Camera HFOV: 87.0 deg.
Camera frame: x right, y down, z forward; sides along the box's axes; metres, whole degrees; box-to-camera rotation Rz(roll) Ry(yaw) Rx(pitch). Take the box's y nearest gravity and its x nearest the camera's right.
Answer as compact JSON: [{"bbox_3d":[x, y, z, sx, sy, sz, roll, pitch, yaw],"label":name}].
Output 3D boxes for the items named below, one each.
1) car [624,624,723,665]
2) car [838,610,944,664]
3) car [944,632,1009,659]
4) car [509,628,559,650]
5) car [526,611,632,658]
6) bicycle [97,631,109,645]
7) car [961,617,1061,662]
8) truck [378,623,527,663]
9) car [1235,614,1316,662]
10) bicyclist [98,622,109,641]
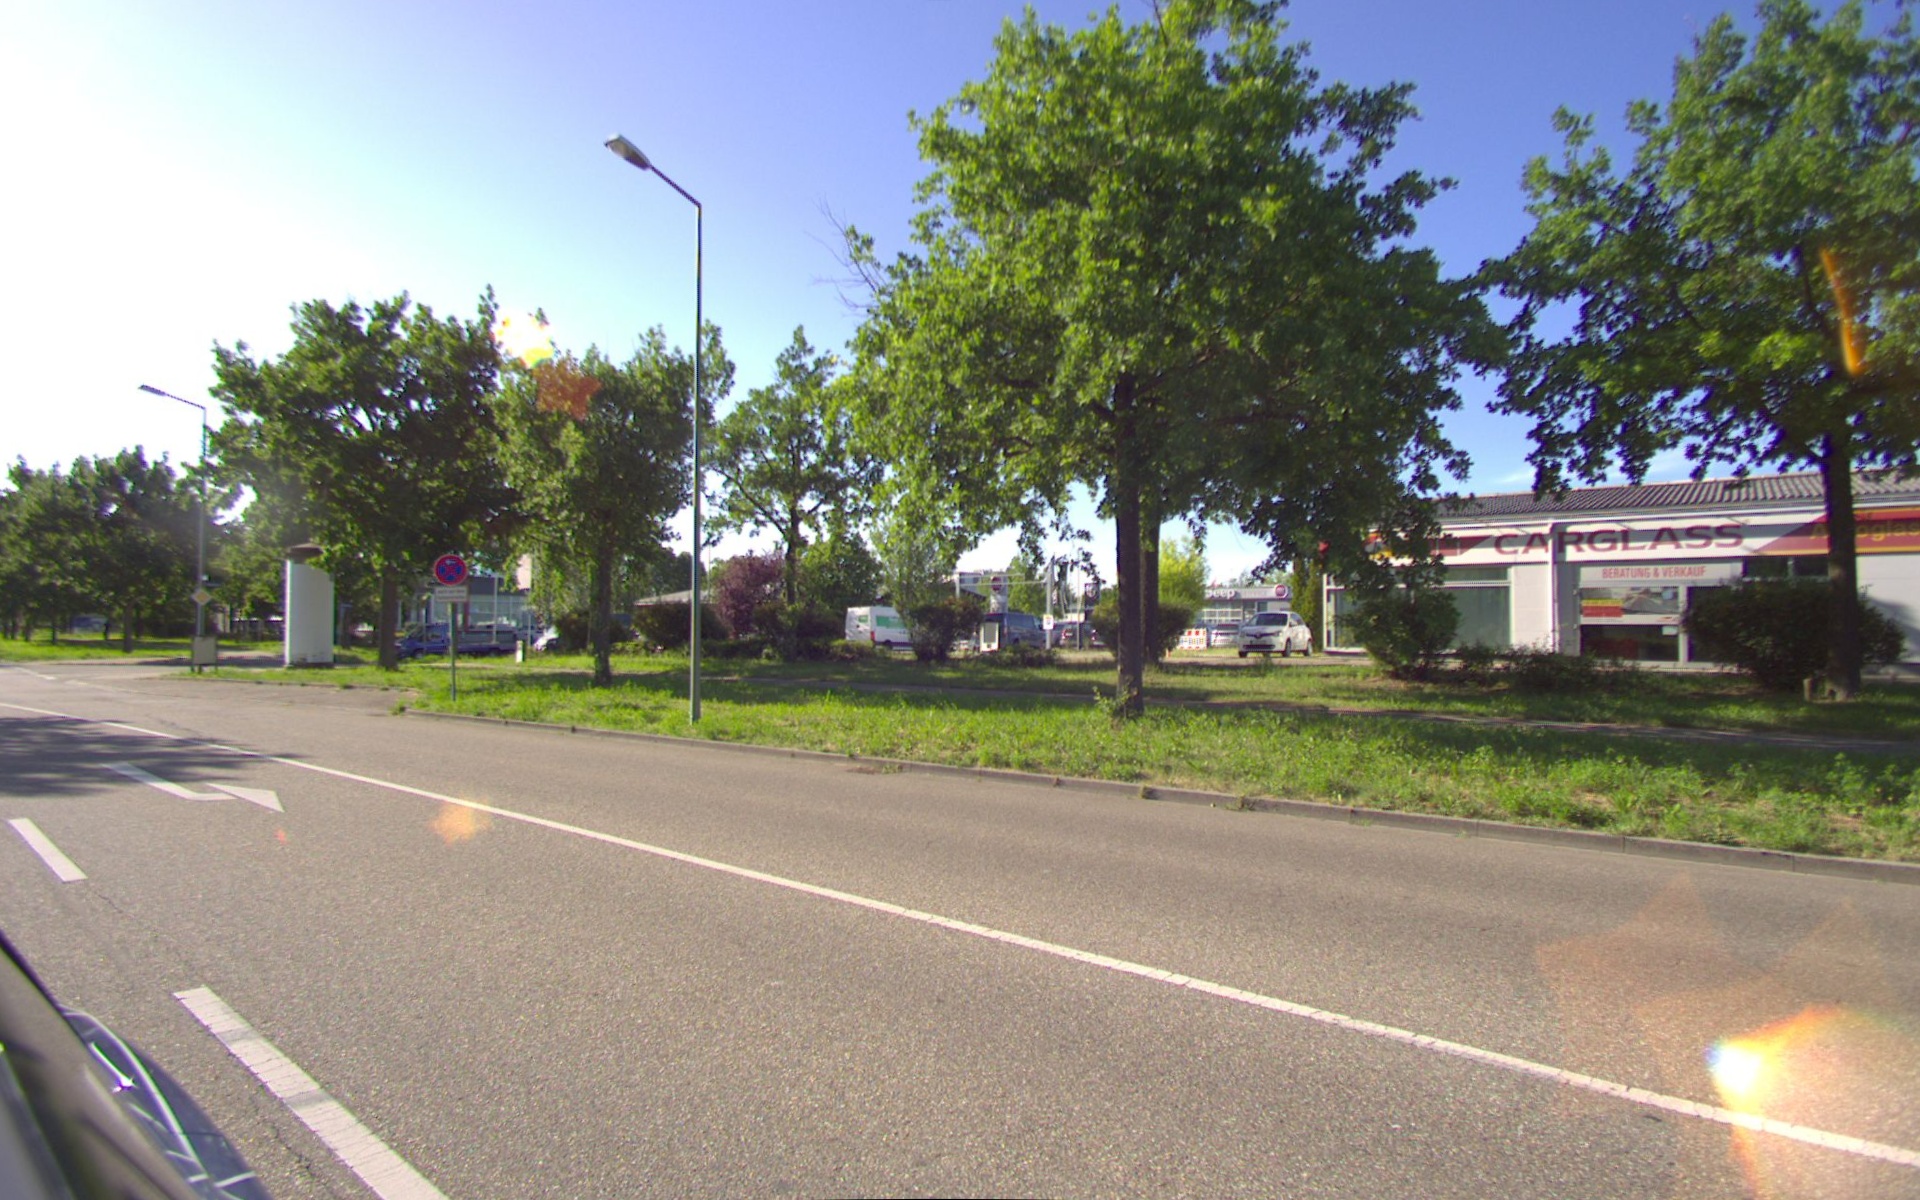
[{"bbox_3d":[-19.001,2.892,67.511,2.297,2.535,6.279,-1,-1,37],"label":"car"},{"bbox_3d":[-3.628,1.908,54.470,2.297,2.723,6.102,-1,-1,37],"label":"car"},{"bbox_3d":[0.873,2.302,52.014,1.572,1.312,3.488,-2,-2,38],"label":"car"},{"bbox_3d":[-33.536,3.036,79.637,4.296,1.505,1.973,1,1,41],"label":"car"},{"bbox_3d":[-23.229,2.047,61.921,2.297,2.723,5.807,-1,-1,37],"label":"car"},{"bbox_3d":[-75.419,3.340,89.039,2.335,1.170,0.545,-1,-1,44],"label":"bicycle"},{"bbox_3d":[2.580,1.931,49.575,2.297,2.086,5.358,-1,-2,37],"label":"car"},{"bbox_3d":[-27.708,2.355,55.581,2.138,2.065,7.042,-1,-2,38],"label":"truck"},{"bbox_3d":[10.651,1.249,34.048,1.590,1.509,3.564,-1,-2,36],"label":"car"},{"bbox_3d":[-75.328,2.755,88.981,0.659,1.641,0.656,-1,-1,43],"label":"bicyclist"}]
